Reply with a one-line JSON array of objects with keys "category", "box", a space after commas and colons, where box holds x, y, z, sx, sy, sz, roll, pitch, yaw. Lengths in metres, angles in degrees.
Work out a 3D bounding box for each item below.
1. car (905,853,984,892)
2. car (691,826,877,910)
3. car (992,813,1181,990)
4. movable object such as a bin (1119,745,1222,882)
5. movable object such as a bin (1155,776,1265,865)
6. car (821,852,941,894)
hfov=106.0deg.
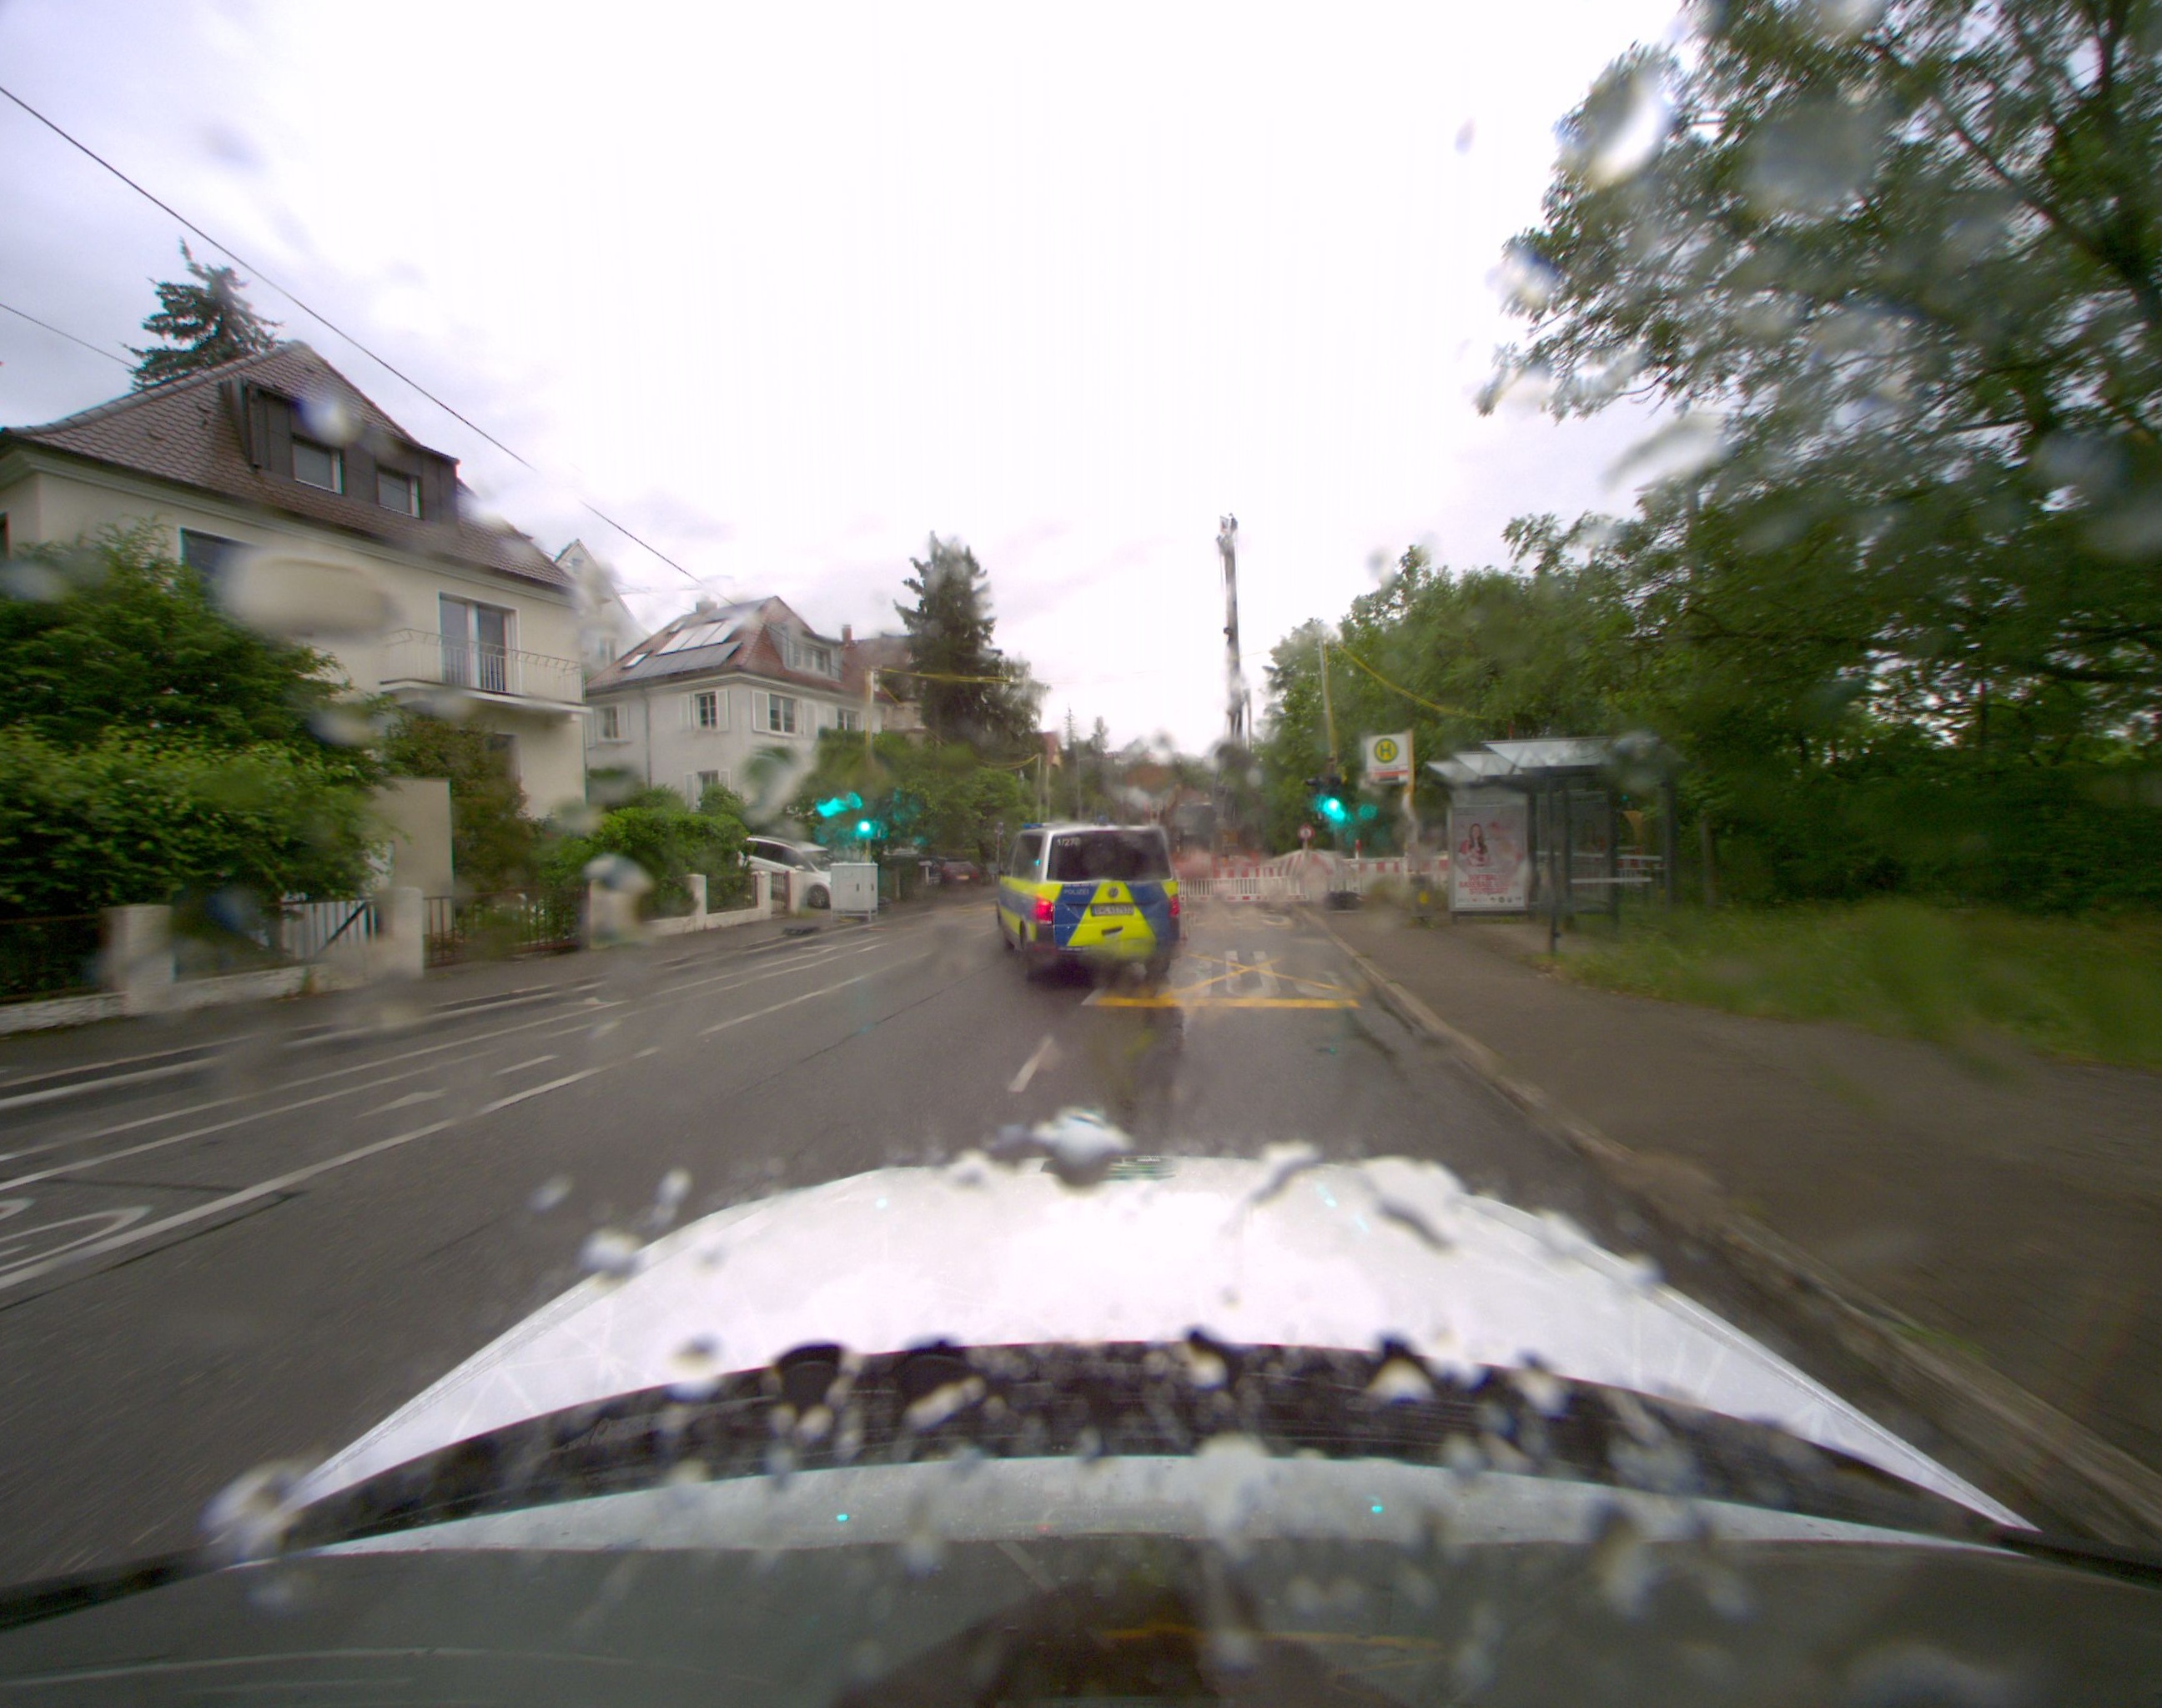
[{"category": "car", "box": [-5.751, 0.739, 33.935, 1.793, 1.525, 3.958, 0, -1, -33]}, {"category": "car", "box": [-8.757, 0.338, 23.997, 4.924, 1.616, 1.873, 10, 4, 19]}, {"category": "car", "box": [-0.148, 0.566, 11.649, 1.908, 2.010, 4.423, 0, -1, -10]}, {"category": "movable object such as a bin", "box": [3.187, -1.300, 27.907, 2.859, 4.170, 4.503, -2, 0, 12]}, {"category": "movable object such as a bin", "box": [8.202, -1.962, 51.011, 3.646, 5.066, 7.208, -3, -1, 37]}, {"category": "car", "box": [-7.566, 0.724, 30.923, 3.955, 1.525, 1.950, -1, -1, 18]}]
